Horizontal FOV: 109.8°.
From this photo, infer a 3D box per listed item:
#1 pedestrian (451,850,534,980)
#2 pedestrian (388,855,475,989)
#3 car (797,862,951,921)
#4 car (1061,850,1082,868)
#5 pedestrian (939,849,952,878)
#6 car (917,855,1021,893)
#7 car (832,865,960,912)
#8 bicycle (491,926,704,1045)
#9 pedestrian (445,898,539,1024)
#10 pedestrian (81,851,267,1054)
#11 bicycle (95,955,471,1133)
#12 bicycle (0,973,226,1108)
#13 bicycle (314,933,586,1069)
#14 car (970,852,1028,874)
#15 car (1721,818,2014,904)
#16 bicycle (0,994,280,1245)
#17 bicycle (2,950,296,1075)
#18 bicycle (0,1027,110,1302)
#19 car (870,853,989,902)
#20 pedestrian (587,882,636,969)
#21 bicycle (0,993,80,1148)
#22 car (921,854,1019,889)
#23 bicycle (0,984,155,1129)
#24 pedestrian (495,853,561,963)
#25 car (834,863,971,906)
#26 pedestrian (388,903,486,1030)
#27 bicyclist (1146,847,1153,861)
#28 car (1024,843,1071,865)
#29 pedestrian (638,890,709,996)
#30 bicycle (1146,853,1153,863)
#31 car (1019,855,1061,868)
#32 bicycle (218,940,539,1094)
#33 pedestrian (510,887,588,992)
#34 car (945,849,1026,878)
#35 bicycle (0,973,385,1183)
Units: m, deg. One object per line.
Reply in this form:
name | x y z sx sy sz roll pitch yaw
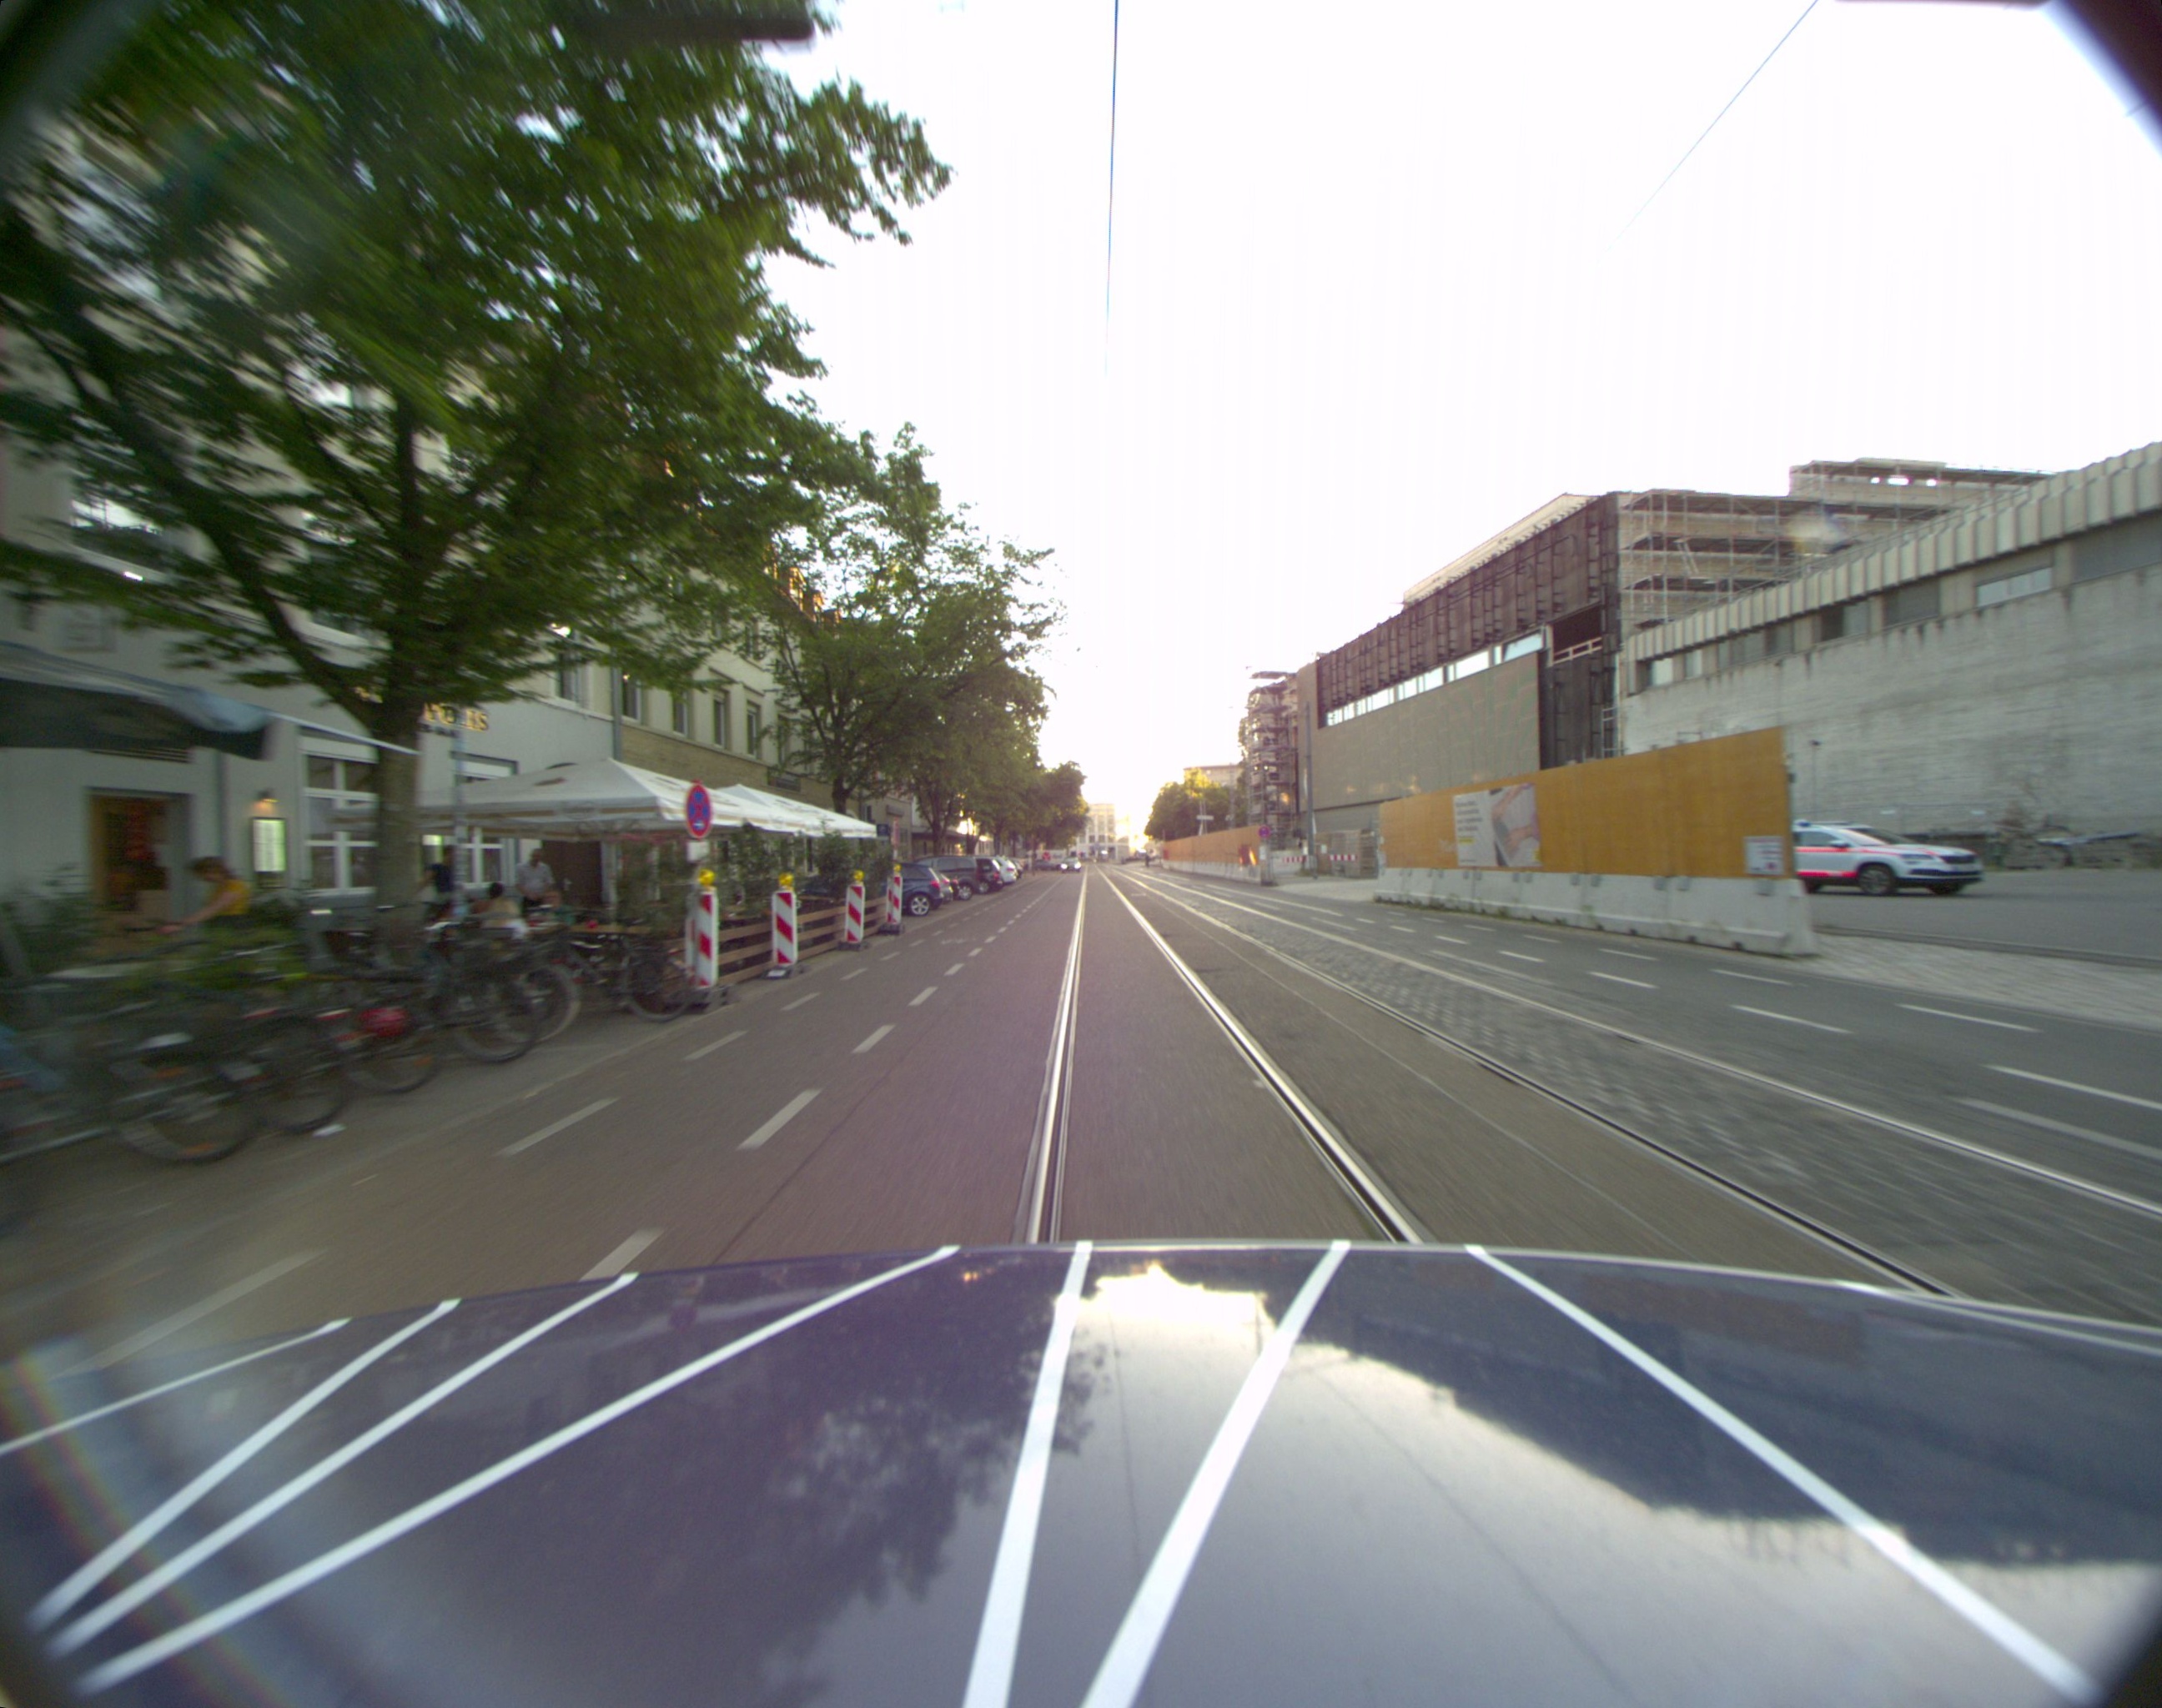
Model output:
pedestrian | -8.276 0.827 10.710 0.552 1.753 0.715 -2 1 -5
pedestrian | -8.979 0.907 10.536 0.553 1.753 0.851 -2 1 -16
car | -5.853 1.000 21.497 3.979 1.544 1.702 0 0 -25
car | -0.915 0.502 76.396 1.840 1.631 4.169 -5 0 1
pedestrian | -9.177 0.636 51.320 0.693 1.974 0.786 1 0 1
car | -5.201 0.905 35.821 4.662 1.678 2.007 1 0 -5
car | -5.900 1.051 24.208 3.788 1.399 1.703 0 0 -20
bicycle | -4.667 1.260 7.398 1.683 1.025 0.557 2 0 -1
pedestrian | -6.449 1.148 8.344 0.503 1.285 0.600 -2 1 -2
pedestrian | -8.364 0.858 7.053 0.552 1.753 0.894 -2 1 0
bicycle | -5.378 1.265 5.194 1.891 1.025 0.608 2 0 -1
bicycle | -7.381 1.362 5.554 1.820 0.867 0.325 -2 1 -1
bicycle | -5.435 1.250 6.611 1.820 1.025 0.608 2 0 -1
car | -6.481 0.686 60.260 4.176 1.654 1.837 1 0 -34
car | 17.514 0.135 17.299 2.000 1.654 4.277 -2 0 -7
bicycle | -5.331 1.290 3.836 1.891 1.025 0.608 2 0 -1
bicycle | -7.492 1.268 6.141 1.820 0.867 0.387 -2 1 -1
bicycle | -5.305 1.275 3.090 1.891 1.025 0.608 2 0 -1
car | -5.917 0.858 29.703 4.167 1.796 2.003 0 0 -28
pedestrian | -7.551 1.127 12.239 0.553 1.298 0.713 -3 1 -27
bicycle | -7.370 1.315 4.723 1.820 0.867 0.325 2 1 -1
car | -5.566 0.861 38.528 4.660 1.678 2.008 1 0 0
bicycle | -7.373 1.367 5.108 1.820 0.867 0.325 -2 1 -1
pedestrian | -9.200 0.876 12.668 0.705 1.753 0.713 -3 1 -27
car | -6.232 1.040 26.668 4.331 1.381 1.802 1 0 -30
pedestrian | -7.035 1.212 8.326 0.503 1.285 0.600 -2 1 -3
bicyclist | 8.703 0.001 97.022 0.770 1.656 1.018 -1 0 0
car | -4.268 0.042 96.662 5.650 2.678 2.166 -1 0 -34
pedestrian | -5.260 1.134 9.832 0.503 1.285 0.600 -3 1 6
bicycle | 8.710 0.469 97.036 0.770 1.221 1.936 -1 0 0
car | -4.847 0.882 90.376 4.614 1.504 1.859 1 -1 -25
bicycle | -5.398 1.241 5.908 1.891 1.025 0.608 2 0 -1
pedestrian | -6.868 1.090 9.826 0.599 1.285 0.504 -2 1 2
car | -6.309 0.631 49.965 4.984 1.816 2.204 1 0 -17
bicycle | -5.359 1.288 4.494 1.891 1.025 0.608 2 0 -1
